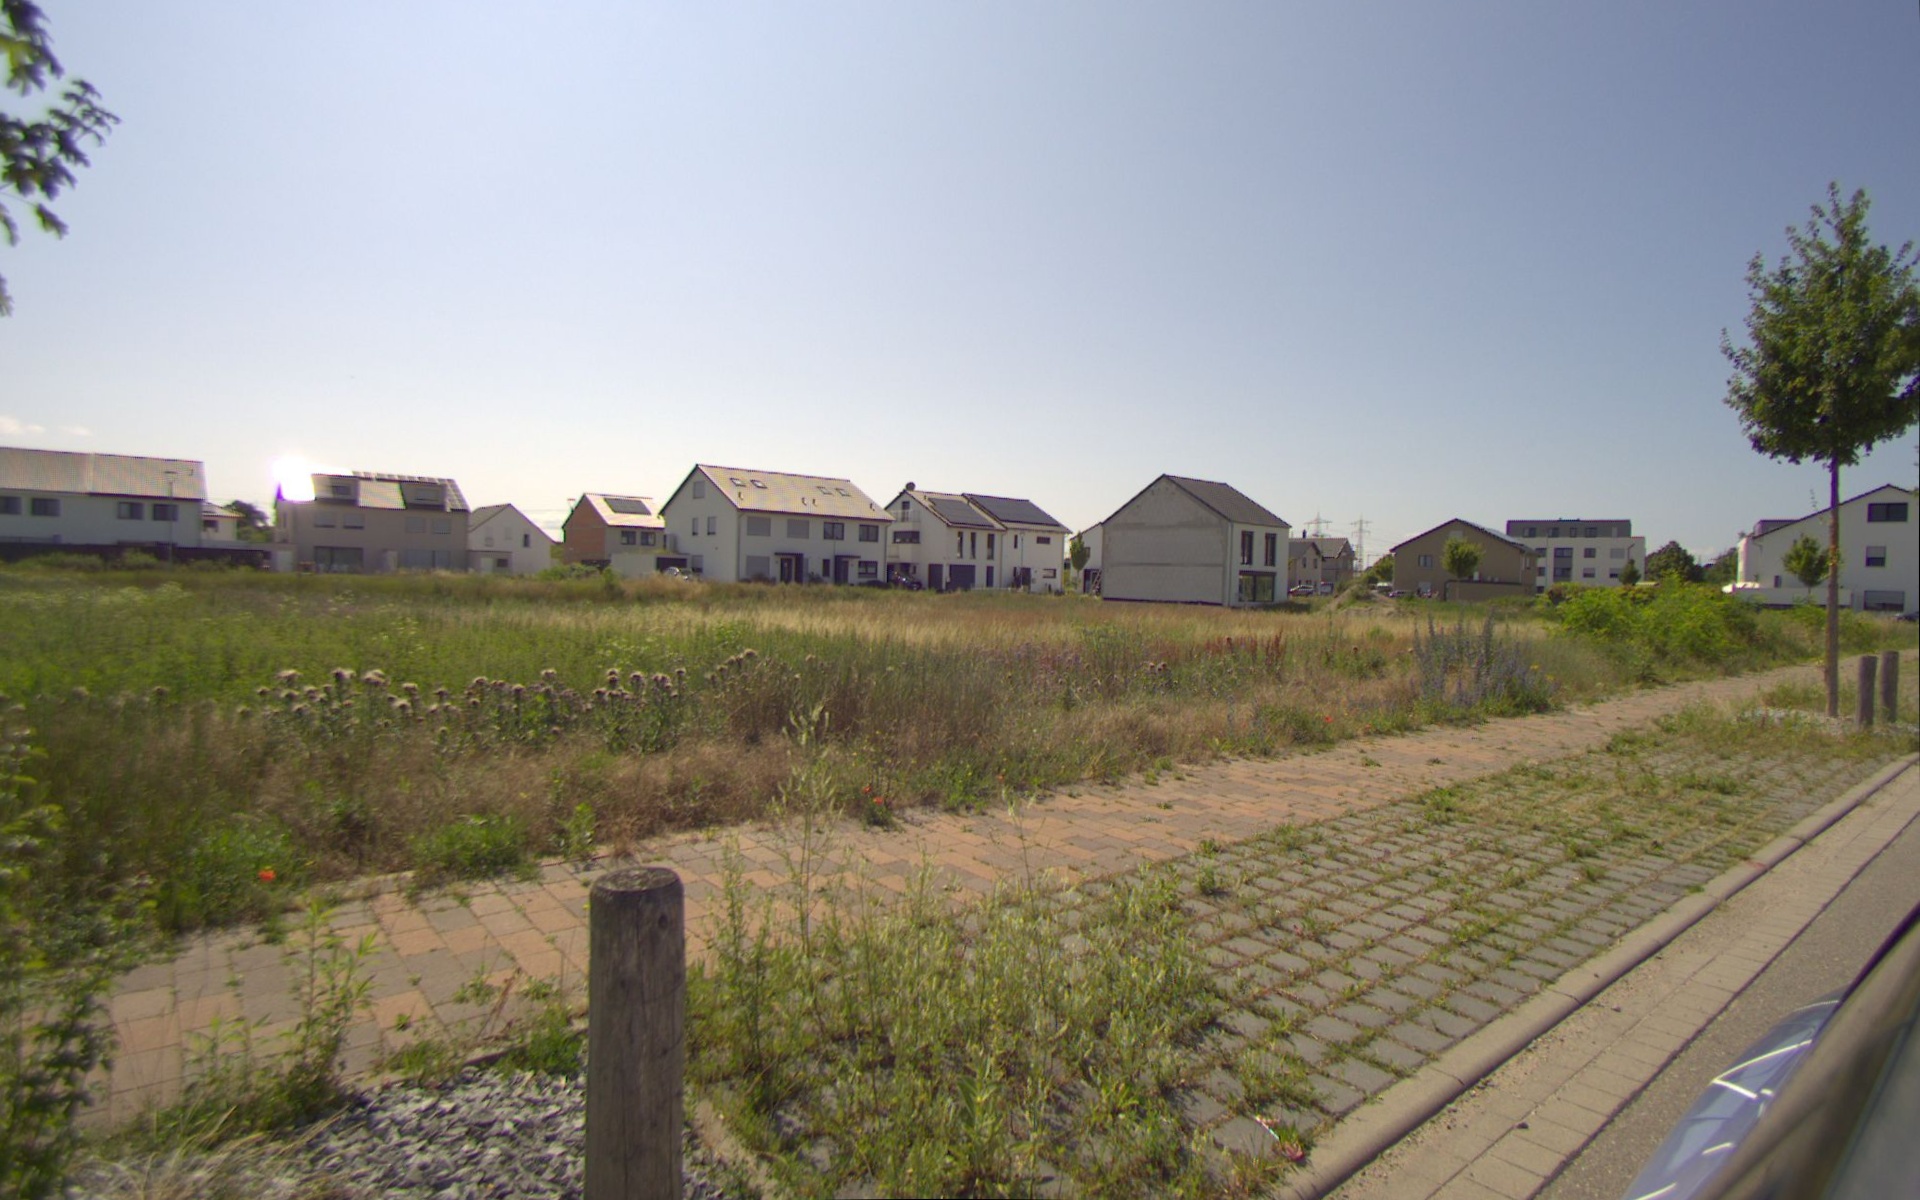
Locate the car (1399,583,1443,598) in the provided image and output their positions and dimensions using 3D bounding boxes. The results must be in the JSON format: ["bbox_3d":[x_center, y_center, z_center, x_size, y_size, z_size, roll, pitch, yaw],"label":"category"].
[{"bbox_3d":[49.685,-1.034,109.152,3.984,1.471,1.610,2,1,41],"label":"car"}]
